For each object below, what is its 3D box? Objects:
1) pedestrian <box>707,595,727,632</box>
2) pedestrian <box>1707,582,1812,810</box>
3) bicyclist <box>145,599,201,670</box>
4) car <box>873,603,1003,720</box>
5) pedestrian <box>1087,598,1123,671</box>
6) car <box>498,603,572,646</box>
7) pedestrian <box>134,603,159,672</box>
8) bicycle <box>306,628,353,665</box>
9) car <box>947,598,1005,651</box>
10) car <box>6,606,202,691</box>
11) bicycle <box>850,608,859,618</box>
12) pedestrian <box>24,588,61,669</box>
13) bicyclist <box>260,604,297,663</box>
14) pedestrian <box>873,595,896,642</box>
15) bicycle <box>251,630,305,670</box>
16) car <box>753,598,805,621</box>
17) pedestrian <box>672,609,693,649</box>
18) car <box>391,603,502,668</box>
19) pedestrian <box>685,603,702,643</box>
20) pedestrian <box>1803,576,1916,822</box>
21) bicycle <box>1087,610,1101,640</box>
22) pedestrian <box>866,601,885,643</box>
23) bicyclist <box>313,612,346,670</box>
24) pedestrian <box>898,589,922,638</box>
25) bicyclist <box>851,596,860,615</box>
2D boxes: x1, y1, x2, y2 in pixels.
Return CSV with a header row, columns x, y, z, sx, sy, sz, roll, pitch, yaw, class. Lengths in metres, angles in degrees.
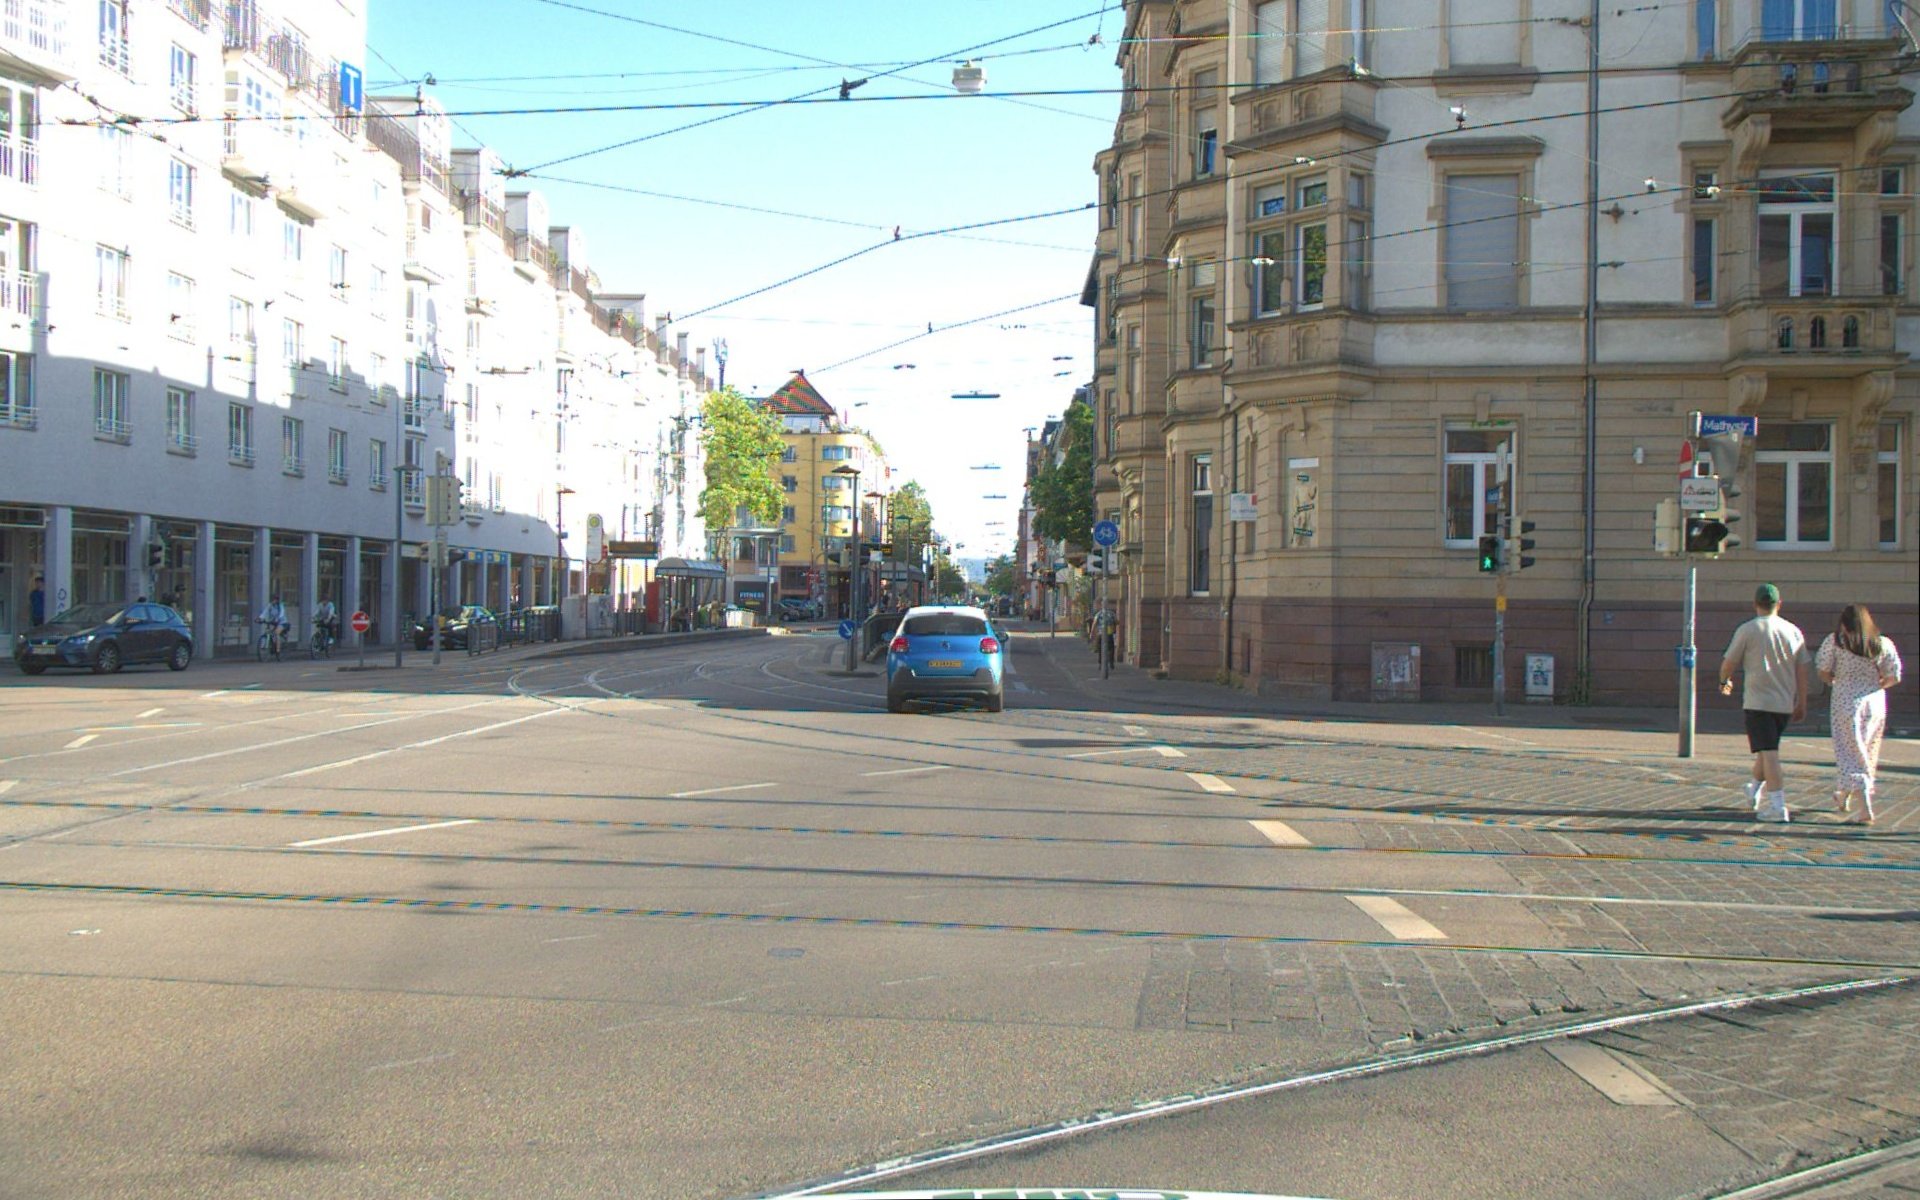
x,y,z,sx,sy,sz,roll,pitch,yaw,class
-10.502,0.581,71.568,0.716,1.586,0.743,1,1,0,pedestrian
6.101,0.709,12.654,0.686,1.683,0.632,0,0,23,pedestrian
-19.519,0.838,41.020,0.708,1.725,1.027,1,1,29,bicyclist
-0.256,0.855,24.705,1.744,1.476,3.655,2,1,1,car
3.716,0.882,42.401,0.764,1.780,1.093,1,2,-1,pedestrian
-16.391,0.922,63.984,1.693,1.541,4.405,1,1,0,car
-19.135,0.873,38.910,0.437,1.560,0.675,-1,3,-35,pedestrian
-17.854,1.315,46.855,0.582,0.989,2.047,0,0,-1,bicycle
0.611,0.863,59.550,1.952,1.773,4.001,2,0,1,car
-17.375,0.937,33.807,1.953,1.624,3.999,0,0,-1,car
-8.808,1.103,138.674,0.554,0.770,1.938,1,1,2,bicycle
-21.726,0.674,39.169,0.451,1.864,0.746,1,2,-1,pedestrian
-17.699,0.867,42.964,0.576,1.514,0.927,0,0,-1,bicyclist
-2.932,0.700,64.334,0.705,1.808,0.563,1,1,37,pedestrian
-17.684,1.284,42.917,0.582,0.989,2.012,0,0,-1,bicycle
-14.321,0.767,131.182,3.907,1.703,1.957,1,1,-2,car
-11.249,1.179,67.072,0.716,1.554,0.743,1,2,0,pedestrian
-16.940,1.136,54.830,2.181,1.944,4.609,1,1,0,car
-13.945,1.199,86.608,0.655,2.049,0.708,2,0,2,pedestrian
6.803,0.727,12.539,0.630,1.775,0.705,2,0,23,pedestrian
5.295,0.977,65.371,0.450,1.142,1.774,-1,1,2,bicycle
-3.251,0.851,63.677,0.575,1.589,0.468,1,1,37,pedestrian
-17.857,1.146,46.845,0.576,1.613,0.896,0,0,-1,bicyclist
-1.794,0.476,59.524,0.623,1.727,0.934,2,0,8,pedestrian
-8.776,0.488,138.645,0.658,1.584,0.778,1,1,2,bicyclist
